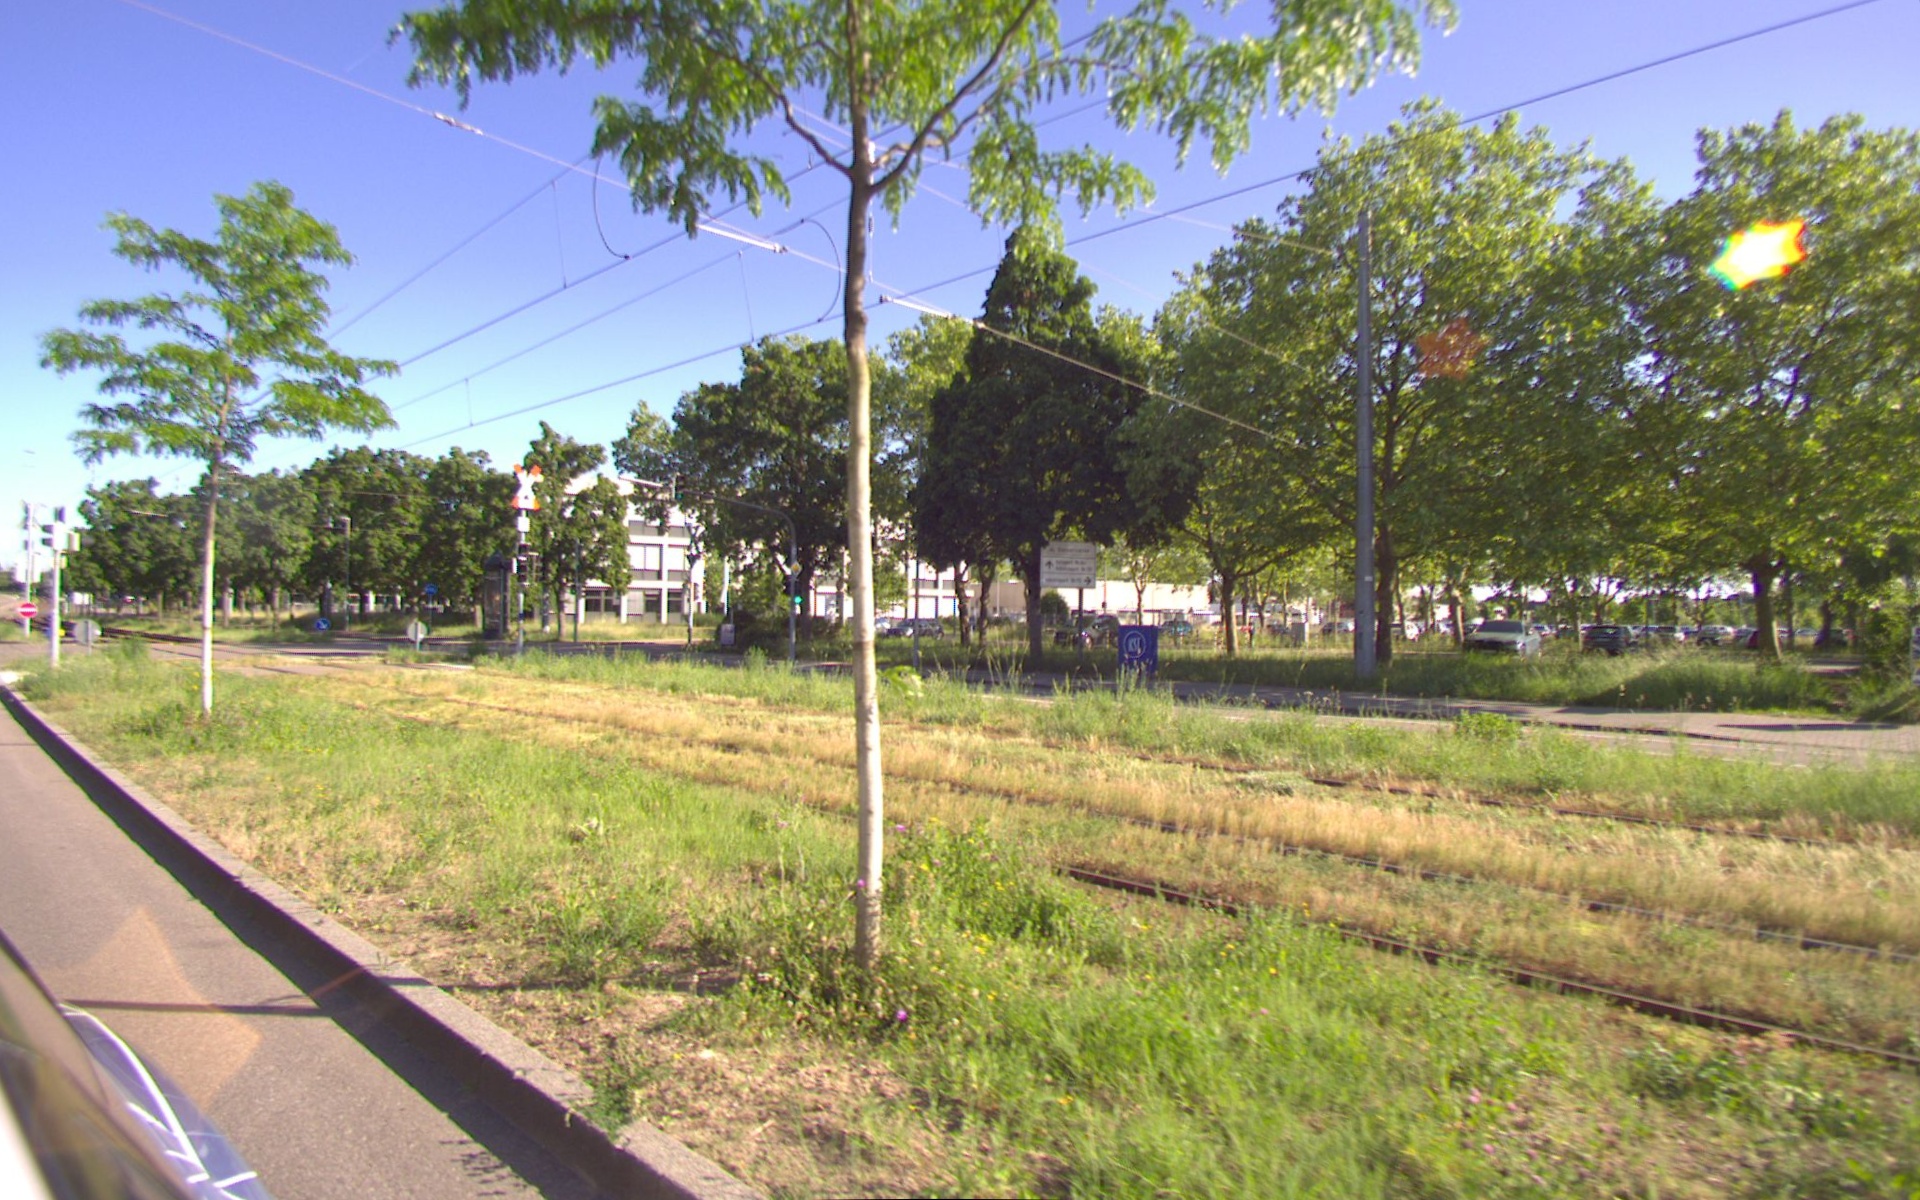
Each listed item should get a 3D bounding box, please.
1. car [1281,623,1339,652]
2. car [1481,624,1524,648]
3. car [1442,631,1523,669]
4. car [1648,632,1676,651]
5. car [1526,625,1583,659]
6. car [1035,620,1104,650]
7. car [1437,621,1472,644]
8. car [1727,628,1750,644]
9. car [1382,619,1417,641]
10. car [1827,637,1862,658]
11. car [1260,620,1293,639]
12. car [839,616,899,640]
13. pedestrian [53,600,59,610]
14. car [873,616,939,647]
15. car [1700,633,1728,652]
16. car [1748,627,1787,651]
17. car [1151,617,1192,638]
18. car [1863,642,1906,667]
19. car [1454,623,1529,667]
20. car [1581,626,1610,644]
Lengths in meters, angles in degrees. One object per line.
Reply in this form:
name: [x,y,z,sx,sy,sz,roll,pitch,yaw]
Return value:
car: [17.970,1.901,51.835,1.664,1.443,3.927,-1,-2,38]
car: [34.684,2.281,64.670,1.744,1.460,3.927,-1,-2,38]
car: [17.448,1.620,33.706,1.664,1.176,3.926,-1,-2,39]
car: [56.300,3.306,81.134,1.664,1.443,3.927,-1,-2,38]
car: [26.250,1.816,44.611,1.664,1.443,3.927,-1,-2,38]
car: [5.282,1.673,48.439,1.865,1.392,3.959,0,-2,30]
car: [37.641,2.449,76.944,1.827,1.681,3.952,0,-2,35]
car: [72.157,3.300,93.783,1.664,1.443,3.927,-1,-2,38]
car: [34.632,2.375,79.676,1.827,1.681,3.952,0,-2,35]
car: [64.047,3.441,73.357,1.664,1.443,3.927,-1,-2,38]
car: [29.069,2.705,92.959,1.827,1.618,3.952,0,-2,35]
car: [-6.461,2.005,72.233,1.984,1.652,4.382,0,-2,32]
pedestrian: [-149.986,0.820,167.886,0.774,1.765,0.782,2,-2,-43]
car: [-3.020,1.791,57.304,1.824,1.681,3.957,0,-1,31]
car: [58.892,3.289,78.985,1.664,1.443,3.927,-1,-2,38]
car: [50.995,2.463,63.984,1.845,1.443,3.927,-1,-2,38]
car: [17.195,2.218,82.175,1.827,1.681,3.952,0,-2,35]
car: [65.683,3.855,71.865,3.937,1.618,1.833,2,-2,-41]
car: [18.654,1.557,35.432,1.664,1.443,3.927,-1,-3,38]
car: [52.937,2.890,84.270,1.664,1.443,3.927,-1,-2,38]
